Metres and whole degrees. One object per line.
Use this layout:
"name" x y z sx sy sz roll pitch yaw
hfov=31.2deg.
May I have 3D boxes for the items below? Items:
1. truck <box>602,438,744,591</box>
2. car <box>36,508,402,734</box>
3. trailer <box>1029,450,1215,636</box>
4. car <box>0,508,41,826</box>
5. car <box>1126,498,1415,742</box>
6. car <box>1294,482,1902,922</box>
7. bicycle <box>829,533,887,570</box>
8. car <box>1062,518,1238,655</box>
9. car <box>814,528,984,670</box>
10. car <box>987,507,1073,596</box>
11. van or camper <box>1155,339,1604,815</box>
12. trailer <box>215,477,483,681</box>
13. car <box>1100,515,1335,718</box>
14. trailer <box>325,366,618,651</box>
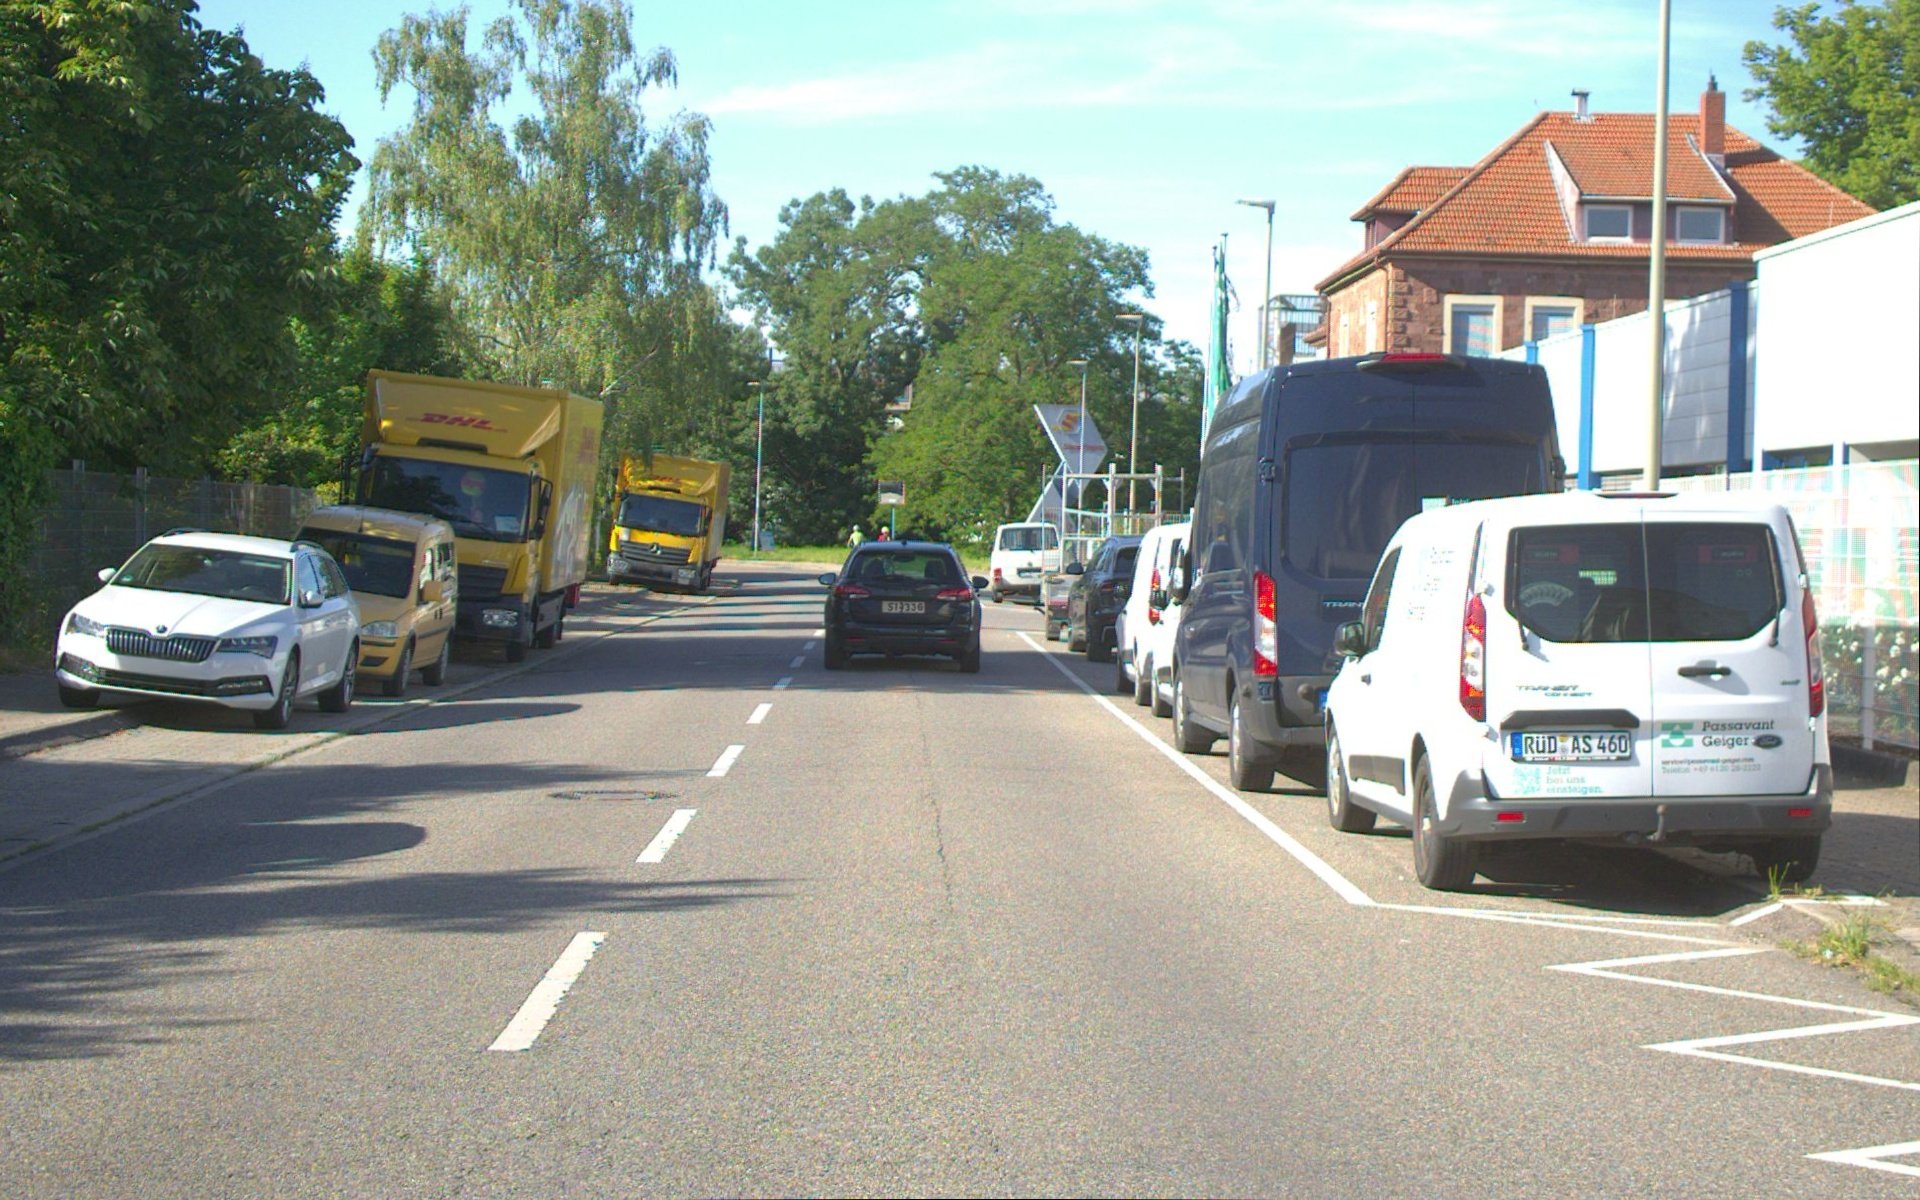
"truck" -7.417 -2.296 89.836 2.631 3.493 8.658 7 2 -1
"car" -6.207 0.112 29.400 1.908 1.587 5.025 6 1 0
"trailer" 2.430 -0.894 53.241 2.460 2.663 5.702 1 1 -1
"car" -5.806 0.324 16.065 1.908 1.657 4.464 6 1 -3
"car" 2.580 0.121 29.728 1.886 1.840 5.104 3 1 -1
"car" 2.985 0.399 17.299 1.885 1.791 5.104 3 1 -2
"bicycle" -3.666 -1.742 123.557 0.804 1.217 2.258 2 1 -40
"car" 2.524 -0.206 46.706 1.994 1.661 4.732 3 1 -1
"car" -0.671 -0.052 39.903 1.847 1.525 4.000 1 1 0
"car" 1.670 -1.192 83.797 1.874 2.007 5.161 3 1 0
"van or camper" 2.694 -0.181 23.728 2.141 2.750 6.162 3 1 -1
"trailer" -6.200 -0.245 35.357 1.993 1.935 4.415 1 1 -1
"car" 2.529 0.116 34.972 1.855 1.824 5.168 3 1 -1
"trailer" -6.398 -1.205 46.249 2.991 3.431 8.162 1 1 -2
